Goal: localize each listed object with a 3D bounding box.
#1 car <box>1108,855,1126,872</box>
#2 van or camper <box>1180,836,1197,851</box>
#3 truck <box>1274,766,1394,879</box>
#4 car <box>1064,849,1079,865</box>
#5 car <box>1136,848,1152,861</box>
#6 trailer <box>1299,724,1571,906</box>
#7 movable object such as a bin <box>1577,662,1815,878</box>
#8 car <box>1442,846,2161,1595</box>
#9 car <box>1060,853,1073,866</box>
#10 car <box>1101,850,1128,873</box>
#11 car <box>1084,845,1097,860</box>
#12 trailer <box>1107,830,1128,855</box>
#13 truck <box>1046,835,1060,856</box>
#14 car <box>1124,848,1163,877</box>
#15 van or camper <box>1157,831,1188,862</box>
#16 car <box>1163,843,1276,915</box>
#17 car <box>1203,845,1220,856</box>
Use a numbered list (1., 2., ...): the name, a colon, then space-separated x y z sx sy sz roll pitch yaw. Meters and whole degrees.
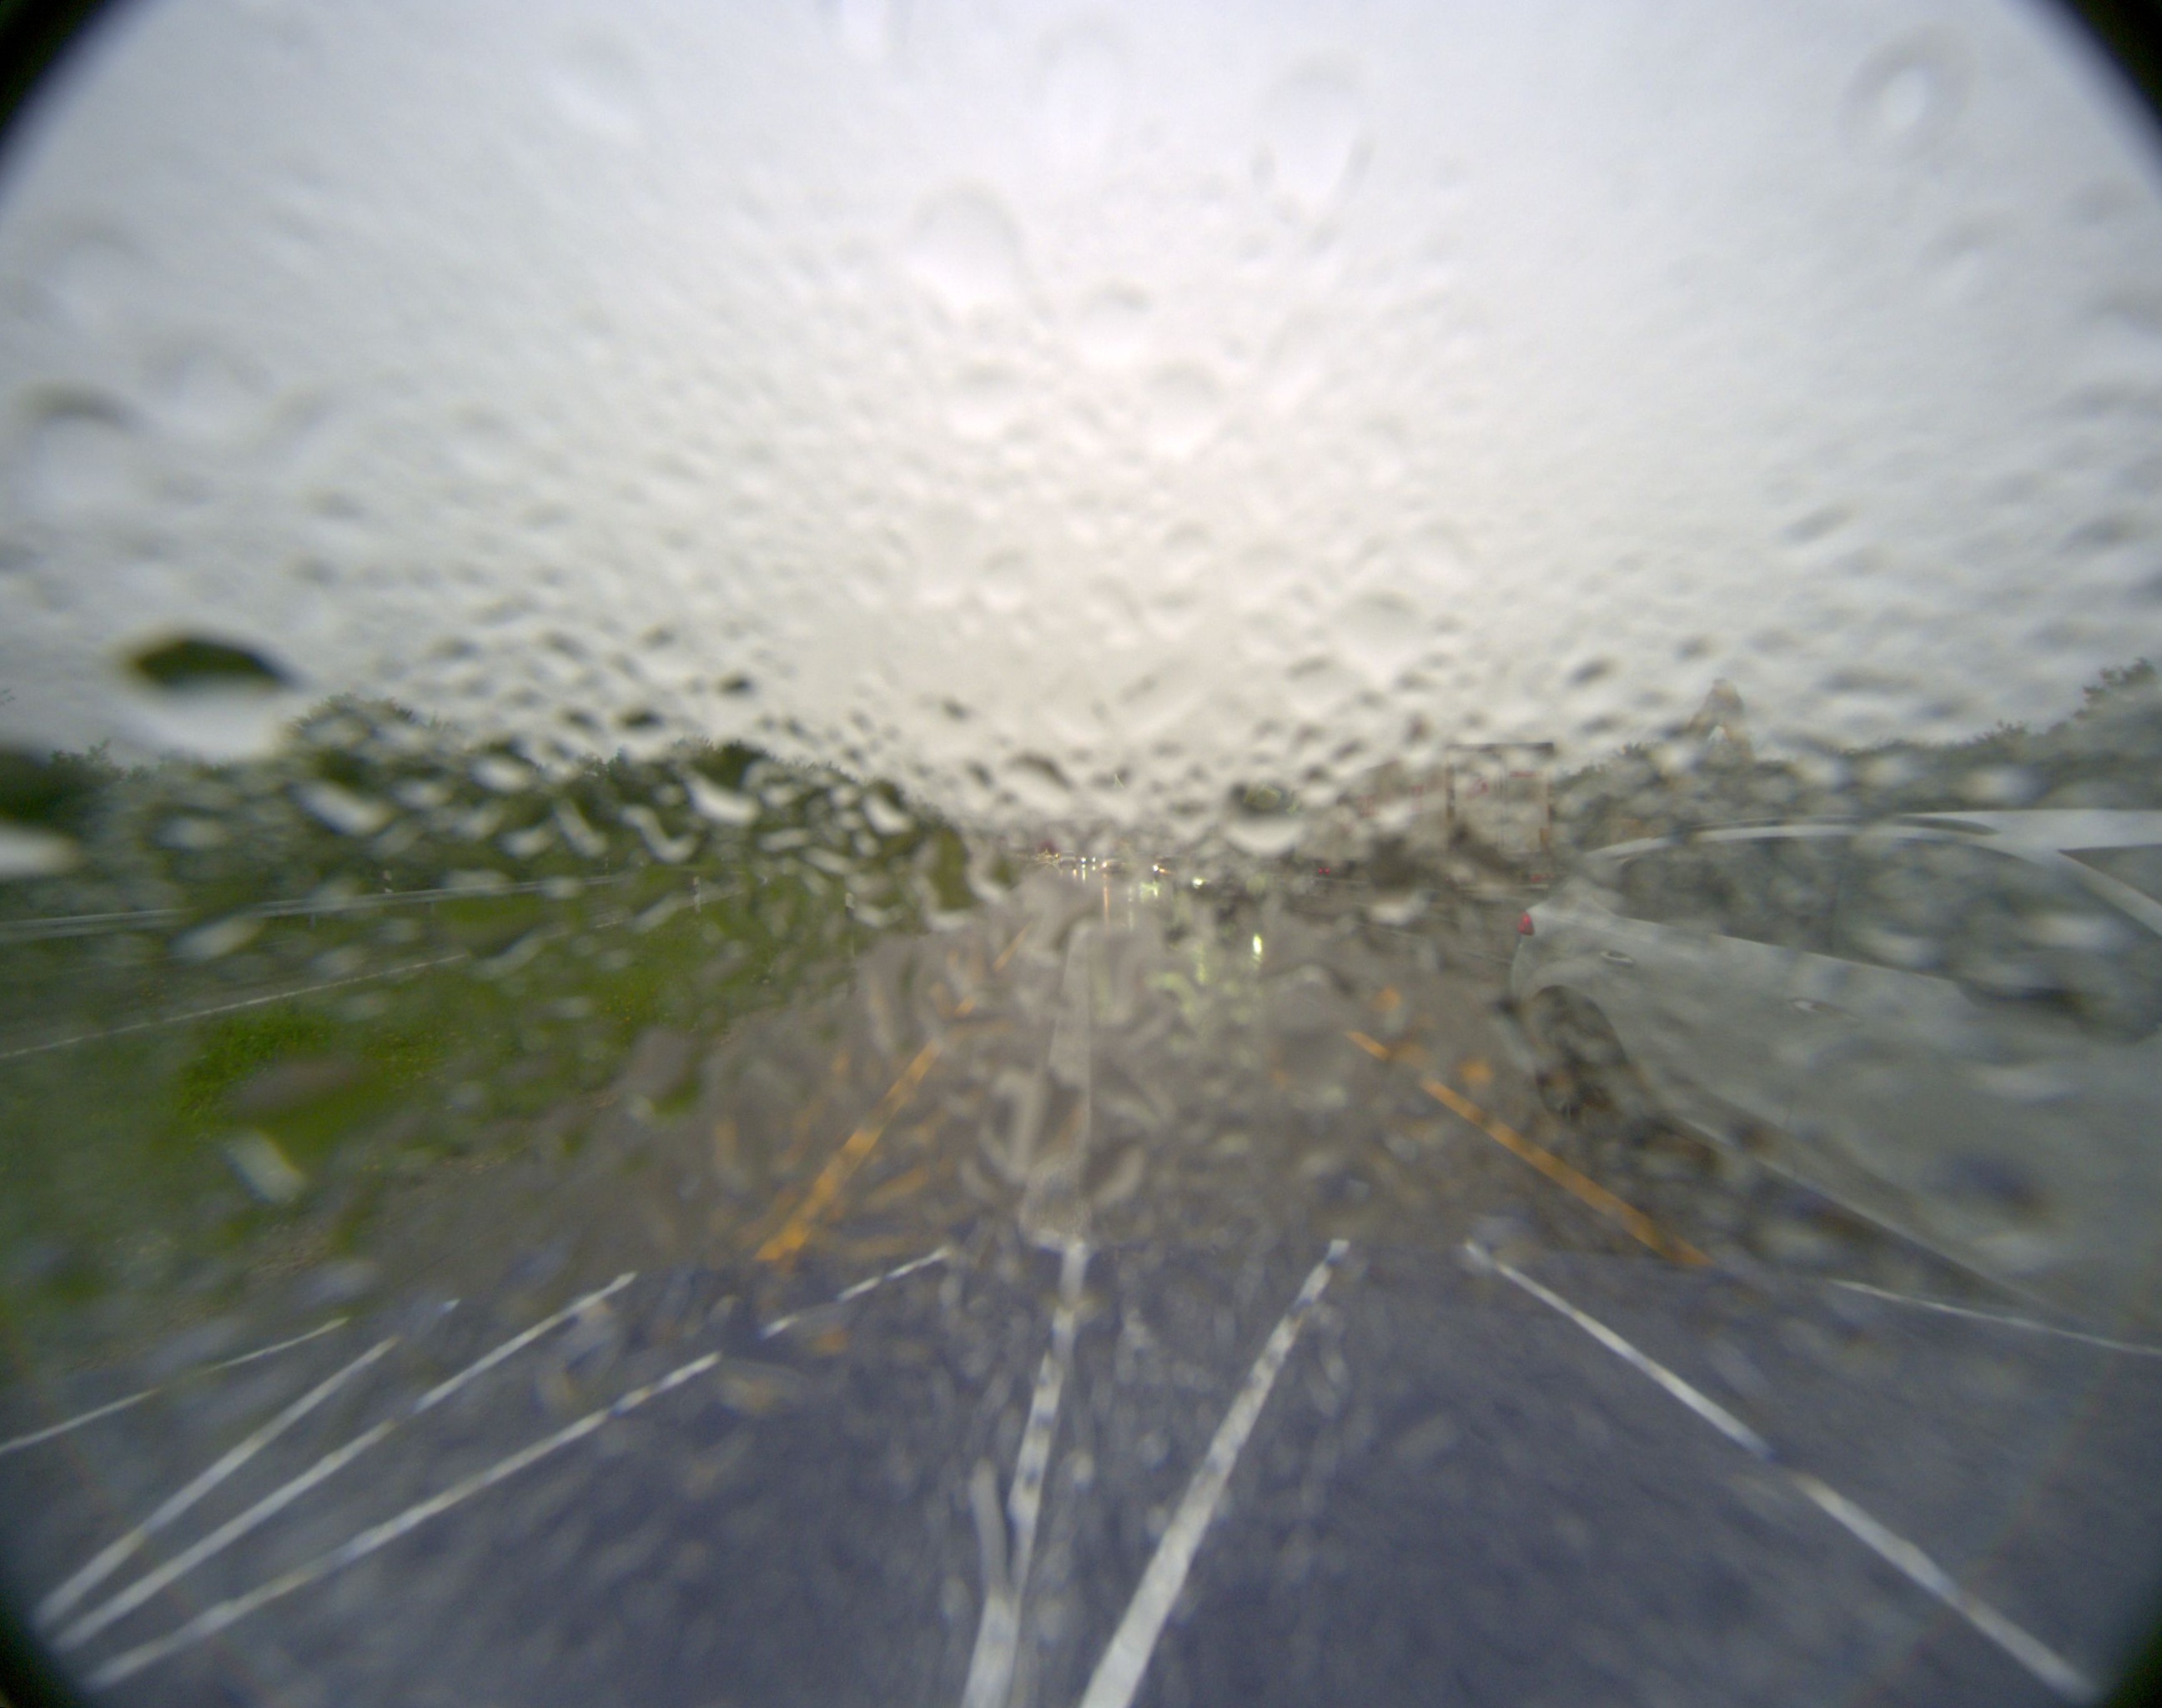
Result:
1. car: 3.631 0.928 76.566 1.590 1.528 3.830 0 1 -1
2. van or camper: 34.274 -3.353 242.962 3.377 4.299 8.501 -3 1 -5
3. truck: 10.323 -1.227 31.772 2.896 4.208 6.325 -1 1 0
4. car: -1.084 0.370 88.594 1.673 1.804 3.999 -1 1 -1
5. car: 8.554 0.095 103.361 1.640 1.659 4.542 -3 1 0
6. trailer: 10.256 -1.033 24.464 2.900 4.262 12.892 -1 1 1
7. movable object such as a bin: 26.224 -3.258 33.202 3.605 8.097 8.306 -3 1 1
8. car: 3.281 0.783 2.391 1.932 1.542 5.006 -2 1 1
9. car: -2.139 0.784 111.858 1.674 1.804 3.997 -1 1 -5
10. car: 2.732 0.571 62.303 1.881 1.772 3.999 -1 1 -2
11. car: 1.395 -0.272 112.278 1.767 2.002 3.999 -3 1 -1
12. trailer: 6.690 -2.116 139.140 2.984 4.270 11.056 -1 1 -2
13. truck: -5.968 -1.830 162.411 2.507 4.067 15.196 -3 1 -2
14. car: 3.528 0.436 43.323 1.792 1.481 3.999 -3 1 0
15. van or camper: 9.549 -0.833 79.663 2.299 3.024 6.697 -3 1 0
16. car: 3.517 0.555 20.332 2.069 1.618 5.195 -2 1 1
17. car: 25.692 -0.712 150.052 2.100 1.955 5.362 -2 1 -4
